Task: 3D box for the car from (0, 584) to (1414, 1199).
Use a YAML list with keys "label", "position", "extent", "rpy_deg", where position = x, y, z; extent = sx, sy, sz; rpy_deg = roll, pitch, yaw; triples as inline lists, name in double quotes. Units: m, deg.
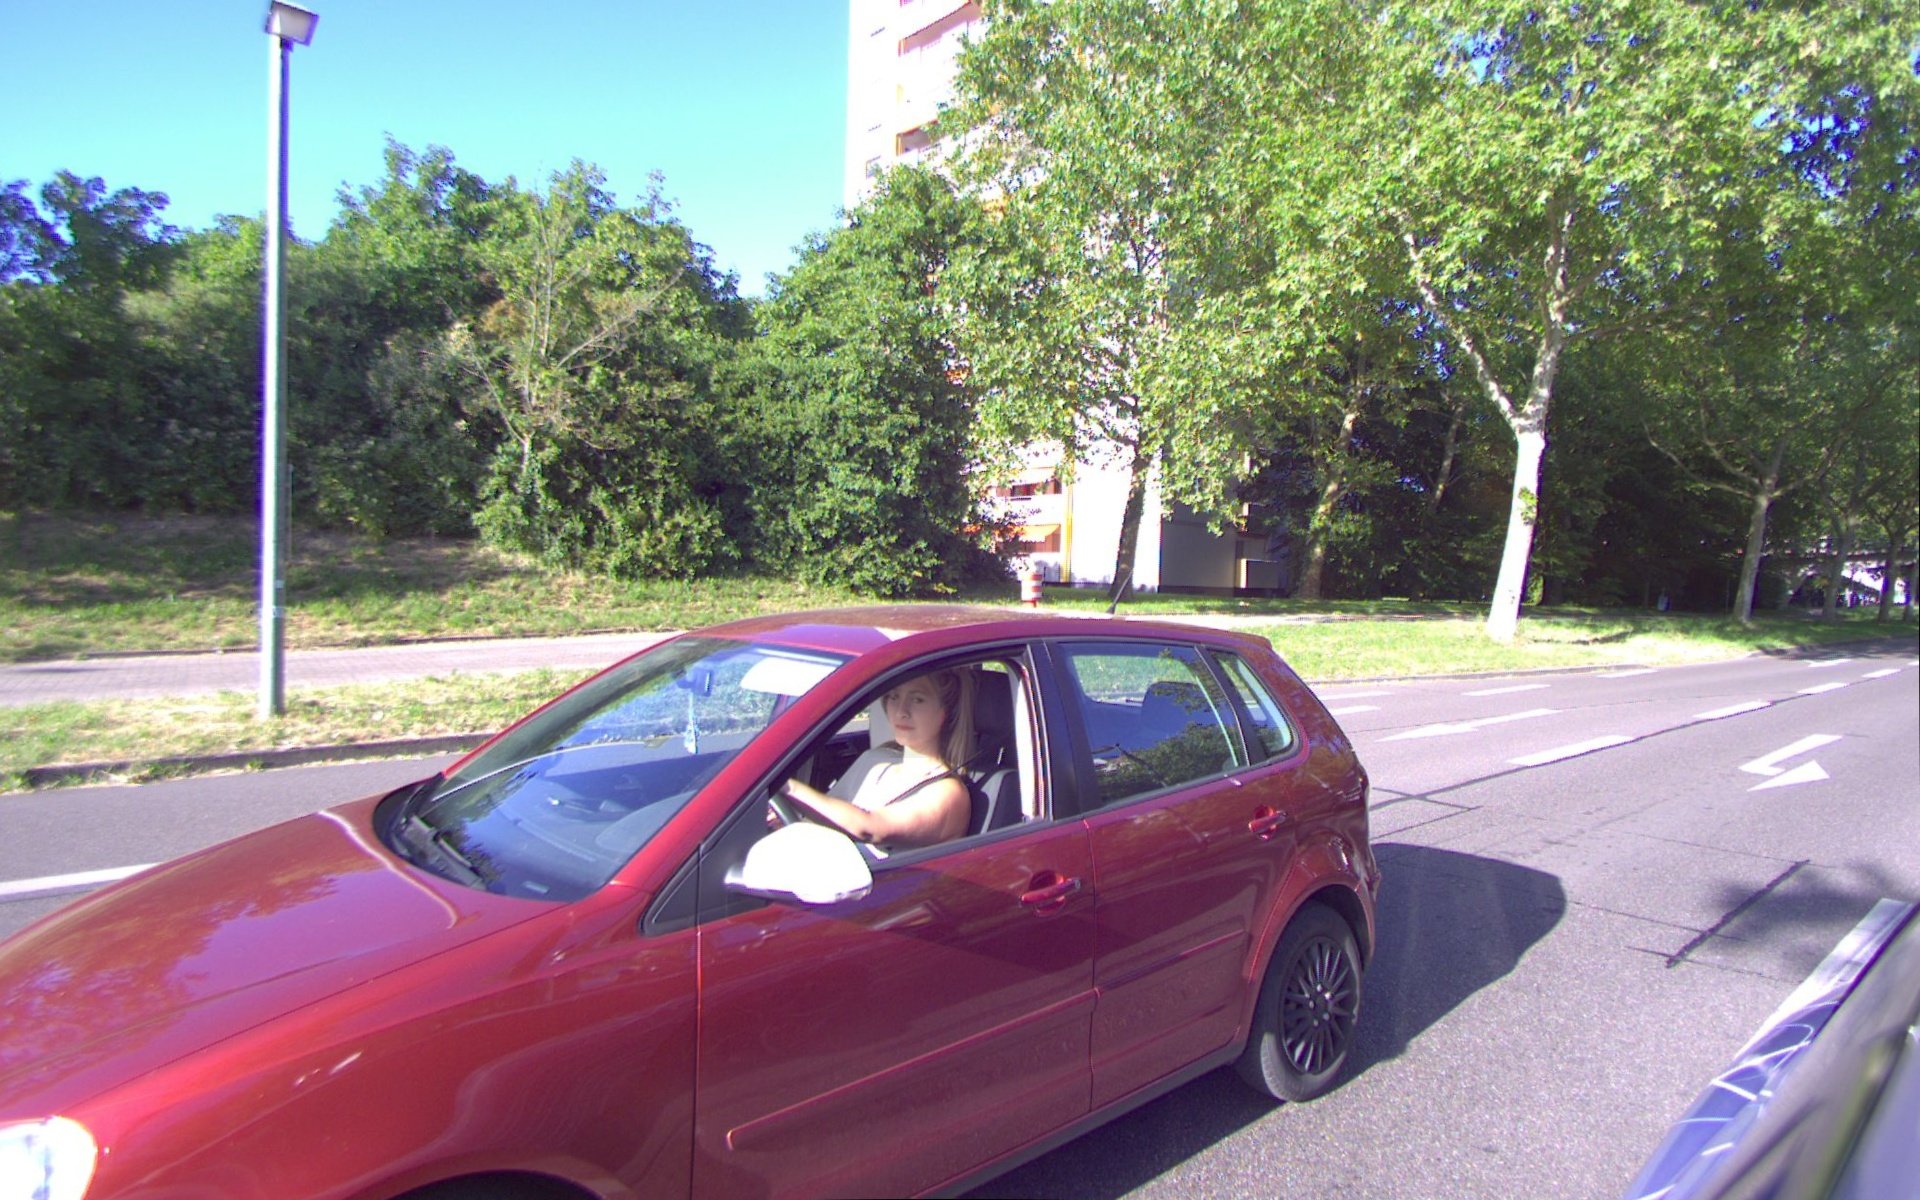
- label: "car"
  position: [-0.462, 0.695, 2.762]
  extent: [3.627, 1.434, 1.626]
  rpy_deg: [0, 1, -39]
